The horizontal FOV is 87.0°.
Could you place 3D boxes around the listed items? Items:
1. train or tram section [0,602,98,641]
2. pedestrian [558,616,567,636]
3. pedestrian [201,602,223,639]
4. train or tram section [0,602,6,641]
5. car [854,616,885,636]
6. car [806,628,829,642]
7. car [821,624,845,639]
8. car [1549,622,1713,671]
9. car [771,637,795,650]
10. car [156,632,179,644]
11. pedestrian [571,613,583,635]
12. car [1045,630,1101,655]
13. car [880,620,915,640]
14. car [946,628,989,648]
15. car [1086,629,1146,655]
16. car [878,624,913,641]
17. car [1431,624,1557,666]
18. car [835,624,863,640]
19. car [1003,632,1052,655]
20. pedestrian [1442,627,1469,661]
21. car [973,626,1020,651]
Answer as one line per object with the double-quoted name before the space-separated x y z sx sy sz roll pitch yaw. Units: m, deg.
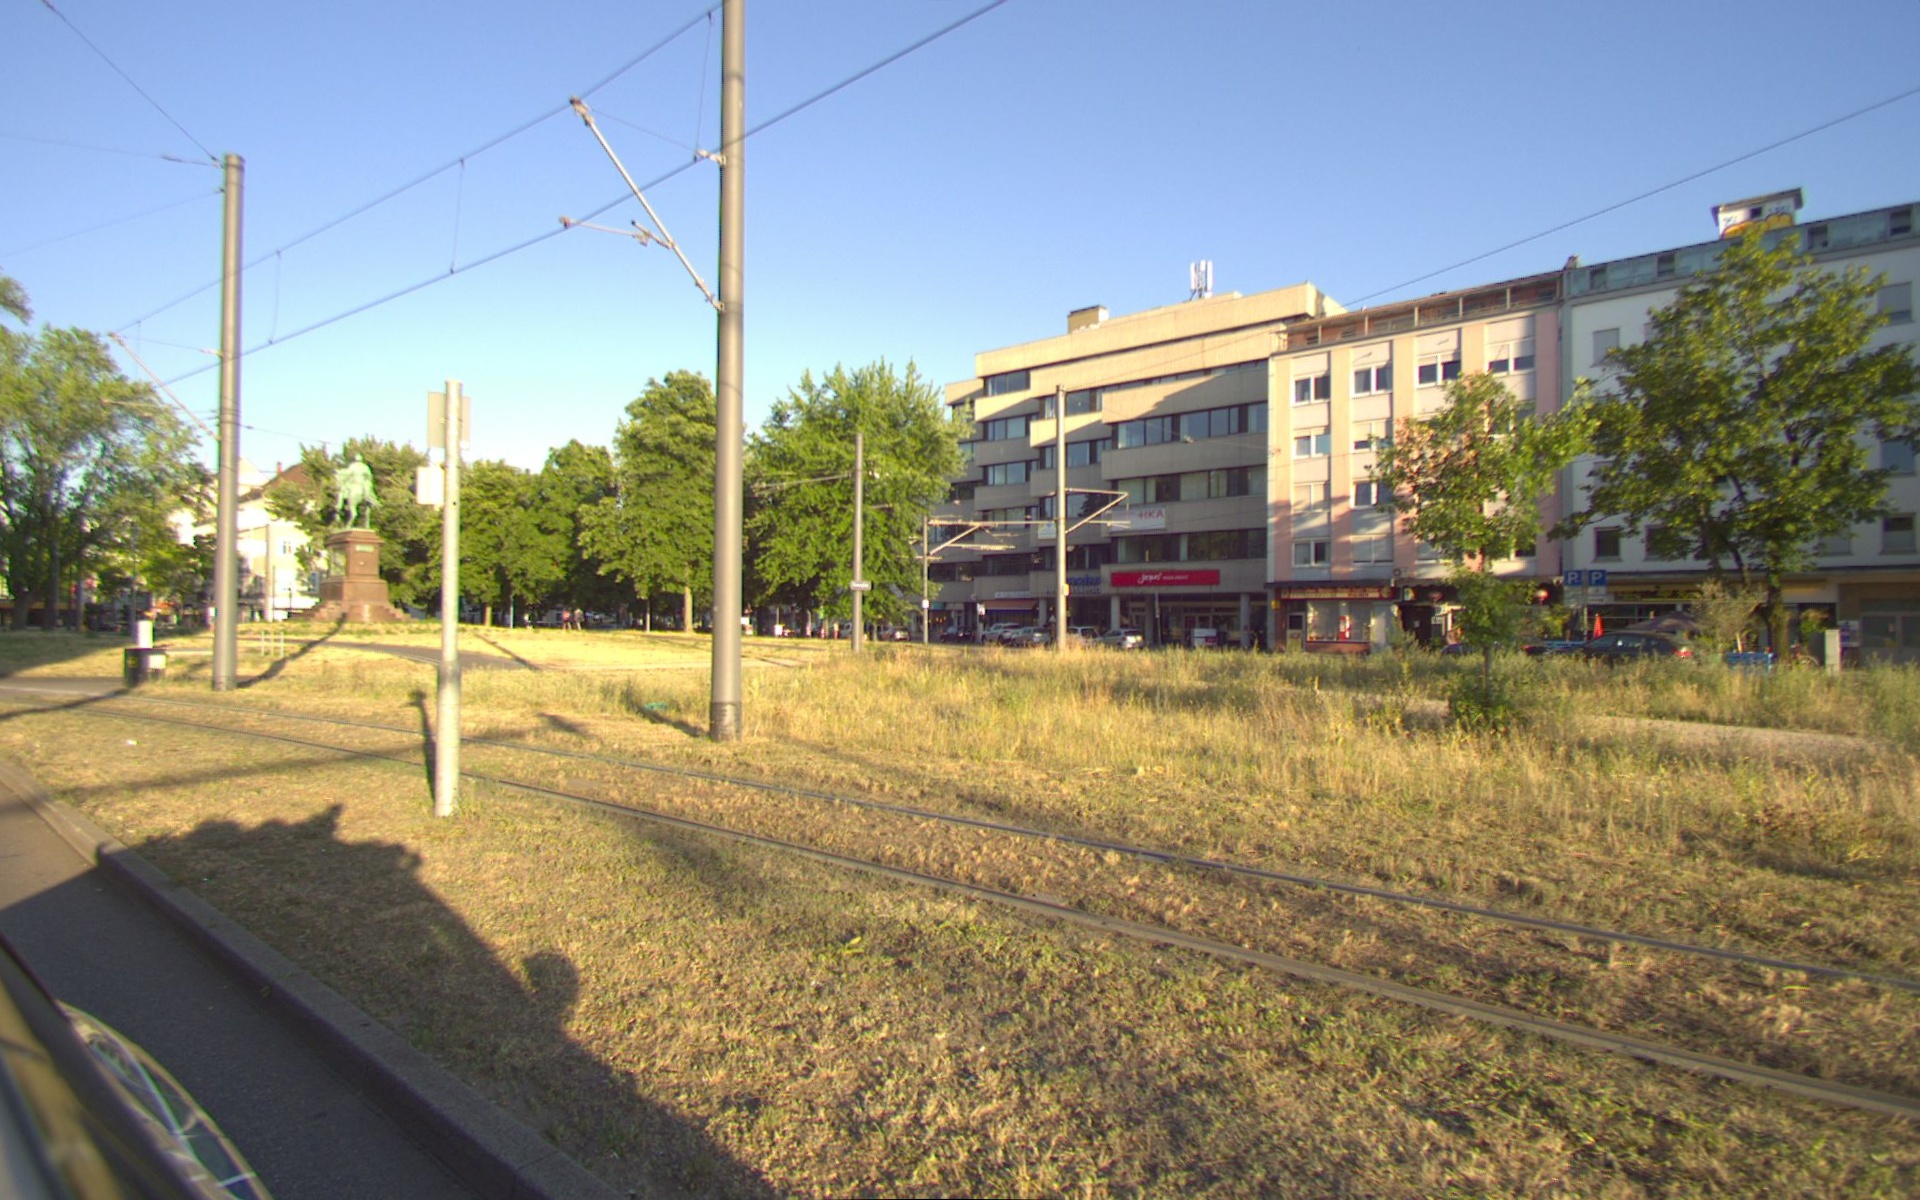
"train or tram section" -81.100 1.879 88.773 2.877 3.165 12.678 0 -1 -13
"pedestrian" -29.226 1.916 74.424 0.553 1.524 0.447 -3 -4 43
"pedestrian" -35.232 0.977 47.682 0.832 1.703 0.472 -1 -3 27
"train or tram section" -77.967 1.640 76.374 2.882 3.165 12.893 0 -1 -15
"car" -9.281 2.655 103.255 1.729 1.959 4.222 1 -3 -26
"car" -17.086 4.209 121.302 1.766 1.592 4.013 0 -3 -22
"car" -14.471 3.582 115.382 1.766 1.592 4.013 0 -3 -22
"car" 22.626 1.580 34.331 1.729 1.538 4.305 1 -3 -26
"car" -21.903 5.357 125.129 1.833 1.568 4.081 1 -3 -26
"car" -106.901 5.114 136.474 3.966 1.564 1.700 -3 -3 42
"pedestrian" -28.239 1.801 74.658 0.553 1.593 0.611 -3 -4 43
"car" 7.395 2.807 66.534 1.729 1.564 4.013 1 -3 -26
"car" -6.041 2.904 97.097 1.906 1.808 4.222 1 -3 -26
"car" 0.571 3.095 82.891 1.833 1.568 4.081 1 -3 -26
"car" 9.518 2.580 61.915 1.729 1.564 4.013 0 -3 -23
"car" -5.722 2.884 89.293 1.681 1.401 4.013 0 -3 -24
"car" 20.532 1.730 39.109 1.729 1.538 4.013 1 -3 -26
"car" -12.160 3.505 110.467 1.729 1.676 4.013 1 -3 -26
"car" 4.765 3.079 72.066 1.729 1.564 4.013 1 -3 -26
"pedestrian" 22.364 1.978 45.684 0.852 1.540 1.107 -3 -3 39
"car" 2.740 2.953 76.956 1.729 1.808 4.222 1 -3 -26
